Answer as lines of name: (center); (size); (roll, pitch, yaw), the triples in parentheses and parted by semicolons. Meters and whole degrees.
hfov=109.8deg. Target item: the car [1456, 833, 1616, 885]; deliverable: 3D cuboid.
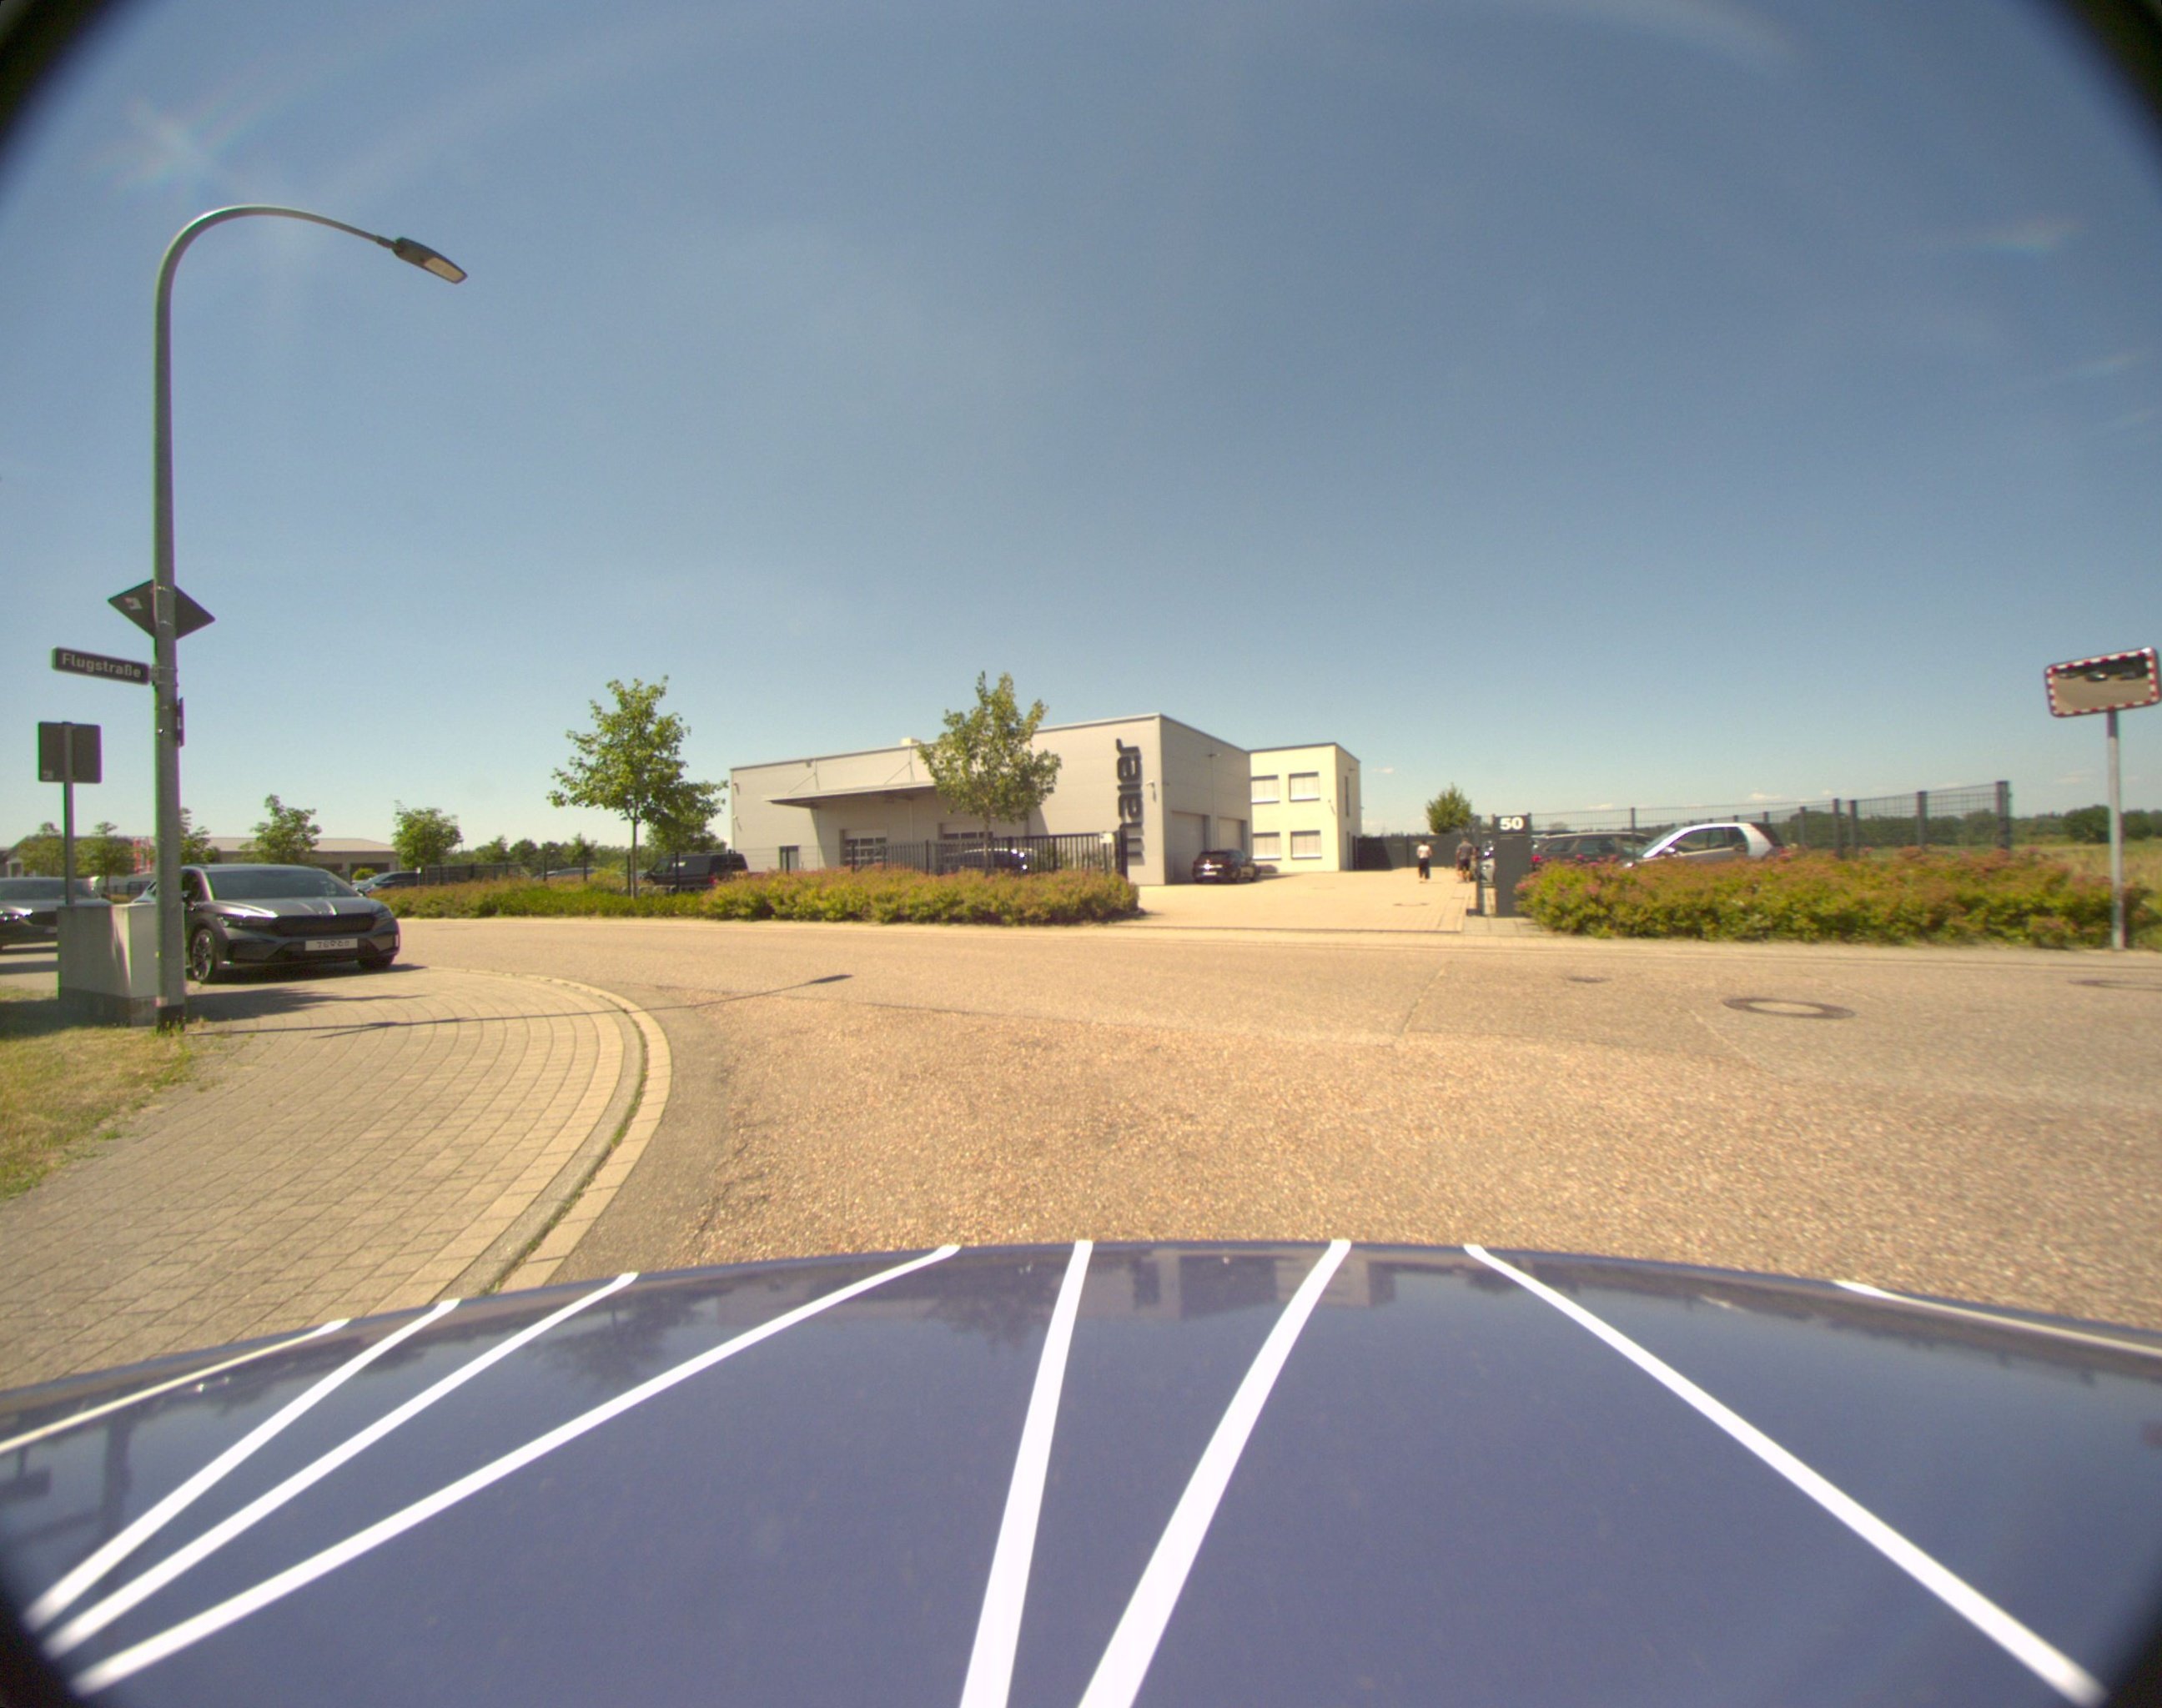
car: (13.687, 0.162, 23.137); (3.990, 1.432, 1.680); (-2, 0, 25)

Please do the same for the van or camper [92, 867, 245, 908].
van or camper: (-67.721, 2.429, 56.585); (2.568, 2.668, 6.811); (-2, 0, 28)

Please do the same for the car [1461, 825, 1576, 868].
car: (18.165, -0.301, 31.741); (3.990, 1.596, 1.680); (-2, 1, 25)

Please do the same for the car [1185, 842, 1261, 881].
car: (5.800, 0.263, 30.653); (1.793, 1.412, 3.877); (-2, 1, 30)

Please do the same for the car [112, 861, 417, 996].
car: (-12.016, 1.017, 11.144); (4.596, 1.652, 1.813); (-2, -2, 27)

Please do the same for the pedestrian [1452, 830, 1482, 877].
pedestrian: (14.114, -0.021, 27.800); (0.828, 1.673, 0.713); (-2, 1, 20)

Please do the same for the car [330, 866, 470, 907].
car: (-35.888, 1.672, 40.212); (1.959, 1.840, 5.084); (-2, 1, 27)

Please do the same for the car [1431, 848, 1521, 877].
car: (20.160, 0.434, 38.861); (3.990, 1.302, 2.003); (-2, 1, 28)

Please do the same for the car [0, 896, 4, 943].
car: (-34.214, 1.992, 22.782); (3.941, 1.414, 1.725); (-2, -2, 28)

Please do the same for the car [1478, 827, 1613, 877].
car: (16.676, -0.053, 27.522); (3.990, 1.596, 1.680); (-2, 0, 25)

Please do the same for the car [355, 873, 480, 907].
car: (-33.799, 1.818, 38.856); (1.959, 1.438, 4.326); (-2, 1, 27)

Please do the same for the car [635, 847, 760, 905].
car: (-15.153, 0.867, 30.012); (4.681, 2.087, 2.010); (-2, 2, 29)

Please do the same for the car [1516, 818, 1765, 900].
car: (11.705, 0.136, 16.261); (3.990, 1.532, 1.834); (-2, 0, 25)

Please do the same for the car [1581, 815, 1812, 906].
car: (11.248, 0.143, 14.151); (2.990, 1.511, 1.708); (-2, 0, 25)

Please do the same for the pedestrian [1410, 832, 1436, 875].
pedestrian: (13.097, -0.026, 29.092); (0.774, 1.619, 0.622); (-2, 1, 14)

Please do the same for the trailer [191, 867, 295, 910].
trailer: (-53.606, 2.175, 48.699); (1.722, 2.347, 4.005); (-2, 2, 25)

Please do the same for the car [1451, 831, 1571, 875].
car: (16.950, -0.020, 30.156); (3.990, 1.596, 1.680); (-2, 0, 25)

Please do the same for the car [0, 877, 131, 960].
car: (-23.451, 1.411, 17.124); (4.352, 1.652, 1.767); (-2, -2, 28)

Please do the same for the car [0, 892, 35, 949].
car: (-29.948, 1.785, 20.355); (4.021, 1.472, 1.725); (-2, -2, 28)
